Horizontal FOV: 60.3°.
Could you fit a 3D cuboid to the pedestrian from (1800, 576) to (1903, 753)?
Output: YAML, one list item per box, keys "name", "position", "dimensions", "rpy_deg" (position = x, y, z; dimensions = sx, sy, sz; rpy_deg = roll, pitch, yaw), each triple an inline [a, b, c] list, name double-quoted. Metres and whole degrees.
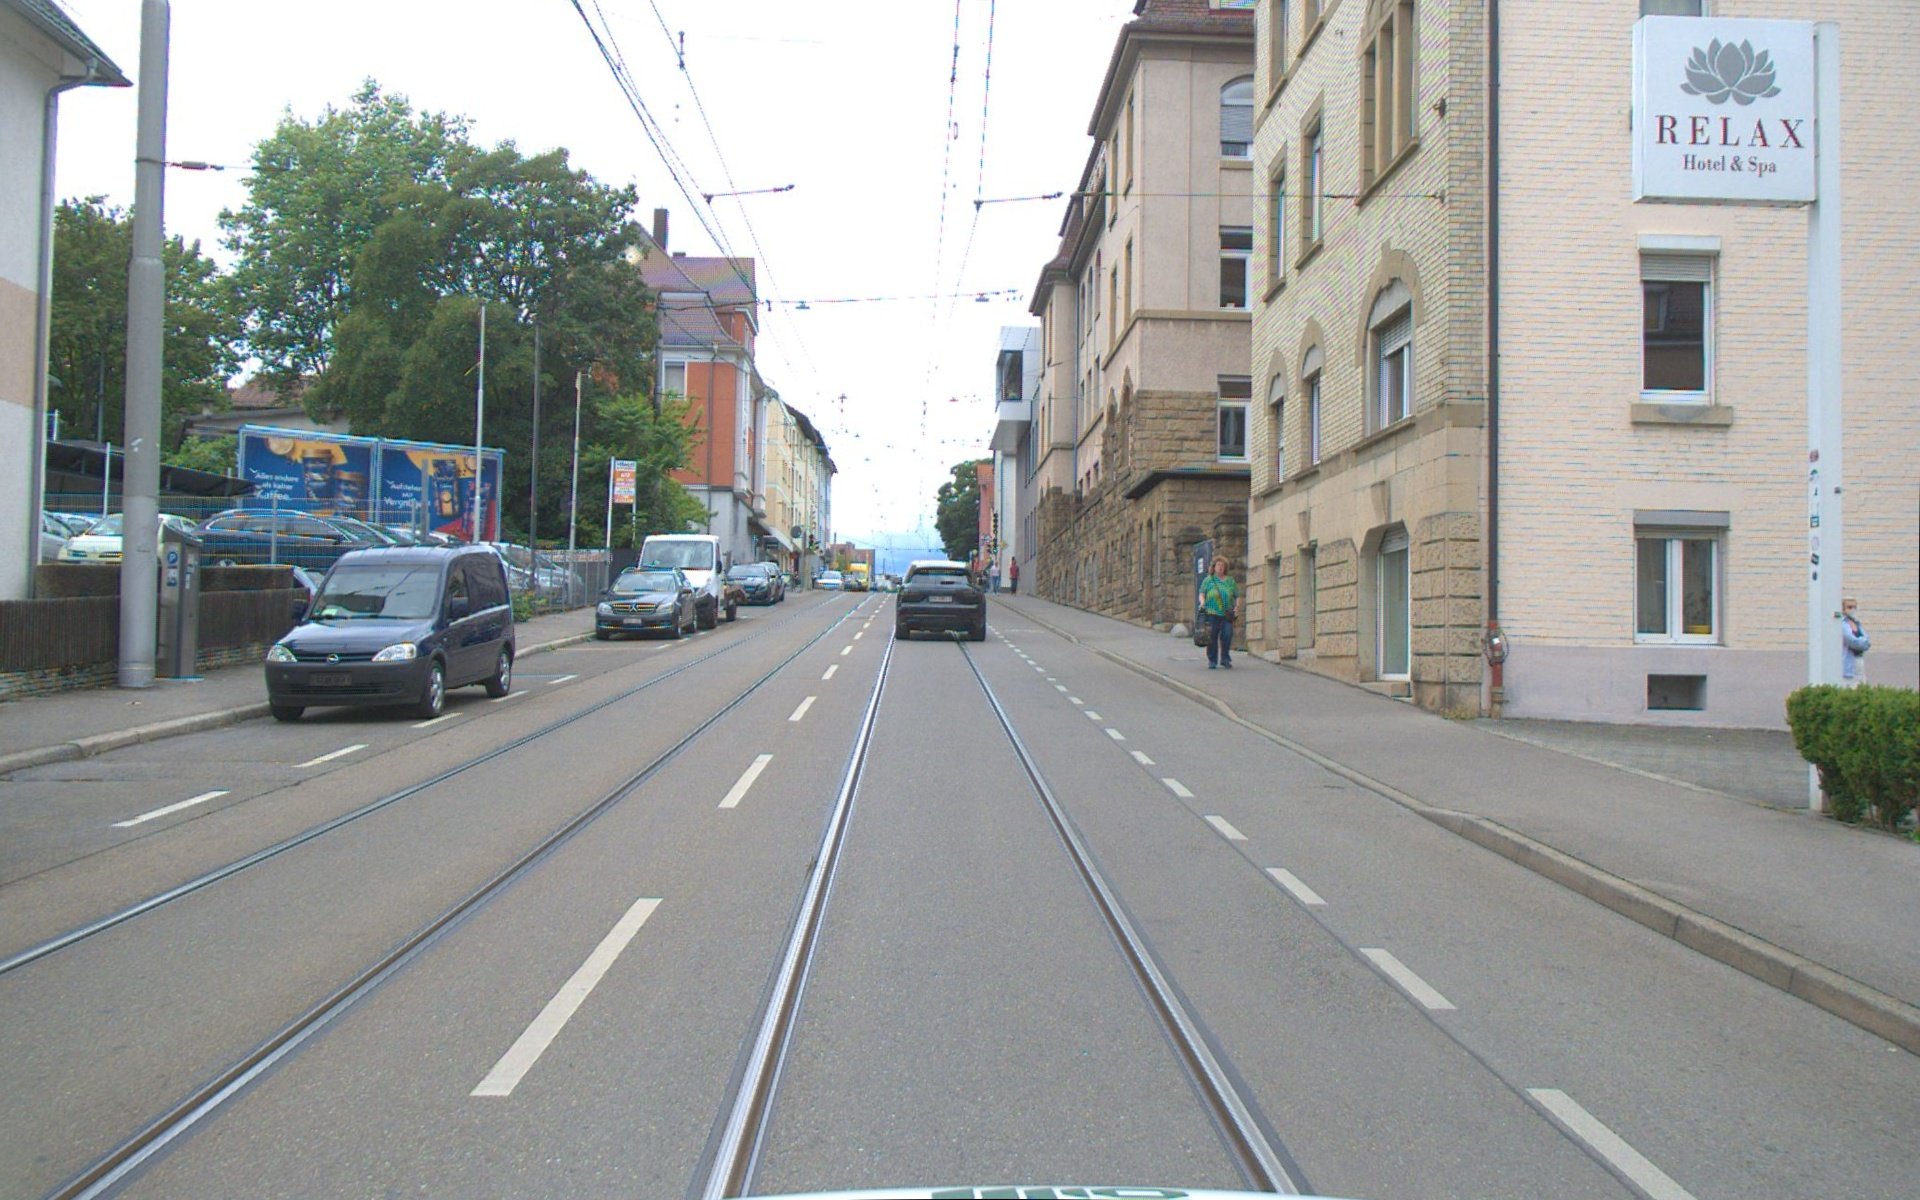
- name: "pedestrian"
  position: [8.346, 0.588, 15.495]
  dimensions: [0.547, 1.609, 0.685]
  rpy_deg: [1, 1, -1]

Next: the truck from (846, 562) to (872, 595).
- name: "truck"
  position: [-9.996, -2.118, 163.767]
  dimensions: [2.256, 3.089, 9.031]
  rpy_deg: [1, 1, -2]

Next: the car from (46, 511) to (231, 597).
- name: "car"
  position: [-15.765, -0.872, 31.968]
  dimensions: [1.648, 1.520, 3.889]
  rpy_deg: [1, 1, -1]

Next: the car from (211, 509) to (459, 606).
- name: "car"
  position: [-11.681, -0.800, 31.097]
  dimensions: [3.979, 1.579, 1.687]
  rpy_deg: [3, 1, -2]

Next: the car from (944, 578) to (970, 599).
- name: "car"
  position: [-0.247, -0.905, 129.587]
  dimensions: [1.953, 1.590, 4.289]
  rpy_deg: [1, 1, -1]

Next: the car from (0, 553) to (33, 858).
- name: "car"
  position: [-5.796, 0.568, 6.917]
  dimensions: [1.662, 1.583, 3.850]
  rpy_deg: [1, 1, 0]

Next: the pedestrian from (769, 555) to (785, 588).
- name: "pedestrian"
  position: [-10.348, -1.620, 93.537]
  dimensions: [0.759, 1.807, 0.650]
  rpy_deg: [1, 1, -1]

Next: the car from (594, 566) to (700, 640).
- name: "car"
  position: [-6.721, 0.014, 35.913]
  dimensions: [1.663, 1.458, 4.479]
  rpy_deg: [-1, 1, -3]

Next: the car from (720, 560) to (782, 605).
- name: "car"
  position: [-7.276, -0.639, 57.789]
  dimensions: [1.677, 1.471, 4.289]
  rpy_deg: [1, 1, -1]

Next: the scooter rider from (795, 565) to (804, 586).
- name: "scooter rider"
  position: [-12.215, -1.874, 125.889]
  dimensions: [0.635, 1.613, 0.765]
  rpy_deg: [1, 1, -6]

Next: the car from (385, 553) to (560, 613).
- name: "car"
  position: [-11.914, -0.425, 40.609]
  dimensions: [3.798, 1.380, 1.687]
  rpy_deg: [1, 1, -2]

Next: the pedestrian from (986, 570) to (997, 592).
- name: "pedestrian"
  position: [2.518, -1.520, 132.116]
  dimensions: [0.775, 1.696, 0.799]
  rpy_deg: [1, 1, 1]

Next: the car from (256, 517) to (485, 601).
- name: "car"
  position: [-11.822, -0.821, 33.376]
  dimensions: [3.978, 1.550, 1.738]
  rpy_deg: [1, 1, -2]

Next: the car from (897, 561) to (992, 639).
- name: "car"
  position: [-0.367, -0.038, 36.583]
  dimensions: [1.953, 1.590, 4.289]
  rpy_deg: [1, 1, -1]

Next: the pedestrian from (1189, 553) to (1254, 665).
- name: "pedestrian"
  position: [4.062, 0.130, 25.703]
  dimensions: [0.853, 1.715, 0.663]
  rpy_deg: [-1, 1, -3]

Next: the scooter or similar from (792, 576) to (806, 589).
- name: "scooter or similar"
  position: [-12.266, -1.340, 125.891]
  dimensions: [1.007, 0.935, 0.472]
  rpy_deg: [1, 1, -6]

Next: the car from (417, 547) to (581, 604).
- name: "car"
  position: [-11.997, -0.642, 43.170]
  dimensions: [3.798, 1.380, 1.687]
  rpy_deg: [1, 1, -2]

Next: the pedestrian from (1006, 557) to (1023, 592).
- name: "pedestrian"
  position: [2.697, -1.259, 81.573]
  dimensions: [0.775, 1.696, 0.799]
  rpy_deg: [1, 1, 1]

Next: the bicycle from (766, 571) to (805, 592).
- name: "bicycle"
  position: [-8.575, -0.923, 81.360]
  dimensions: [1.872, 1.017, 0.479]
  rpy_deg: [1, 1, -1]

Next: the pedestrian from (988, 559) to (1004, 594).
- name: "pedestrian"
  position: [1.760, -1.142, 81.598]
  dimensions: [0.775, 1.696, 0.799]
  rpy_deg: [1, 1, 1]

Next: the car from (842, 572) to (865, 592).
- name: "car"
  position: [-9.229, -1.567, 143.609]
  dimensions: [1.817, 1.635, 4.296]
  rpy_deg: [1, 1, -2]

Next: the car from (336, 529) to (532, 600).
- name: "car"
  position: [-12.076, -0.809, 38.138]
  dimensions: [3.978, 1.520, 1.687]
  rpy_deg: [1, 1, -2]

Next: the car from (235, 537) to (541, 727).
- name: "car"
  position: [-5.979, 0.257, 17.905]
  dimensions: [1.708, 1.766, 4.519]
  rpy_deg: [-1, 1, 0]

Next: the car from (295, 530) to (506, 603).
- name: "car"
  position: [-12.047, -0.724, 35.801]
  dimensions: [3.978, 1.470, 1.687]
  rpy_deg: [1, 1, -2]

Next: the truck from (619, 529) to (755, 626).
- name: "truck"
  position: [-6.888, -0.607, 42.708]
  dimensions: [2.234, 2.226, 8.025]
  rpy_deg: [1, 1, -1]

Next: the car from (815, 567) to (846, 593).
- name: "car"
  position: [-8.672, -1.374, 111.035]
  dimensions: [1.817, 1.635, 4.296]
  rpy_deg: [1, 1, -2]

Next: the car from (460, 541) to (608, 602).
- name: "car"
  position: [-11.814, -0.784, 45.880]
  dimensions: [3.896, 1.578, 1.681]
  rpy_deg: [1, 1, -17]

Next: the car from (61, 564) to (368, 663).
- name: "car"
  position: [-12.495, 0.198, 27.919]
  dimensions: [4.252, 1.369, 1.860]
  rpy_deg: [-3, 1, -2]
